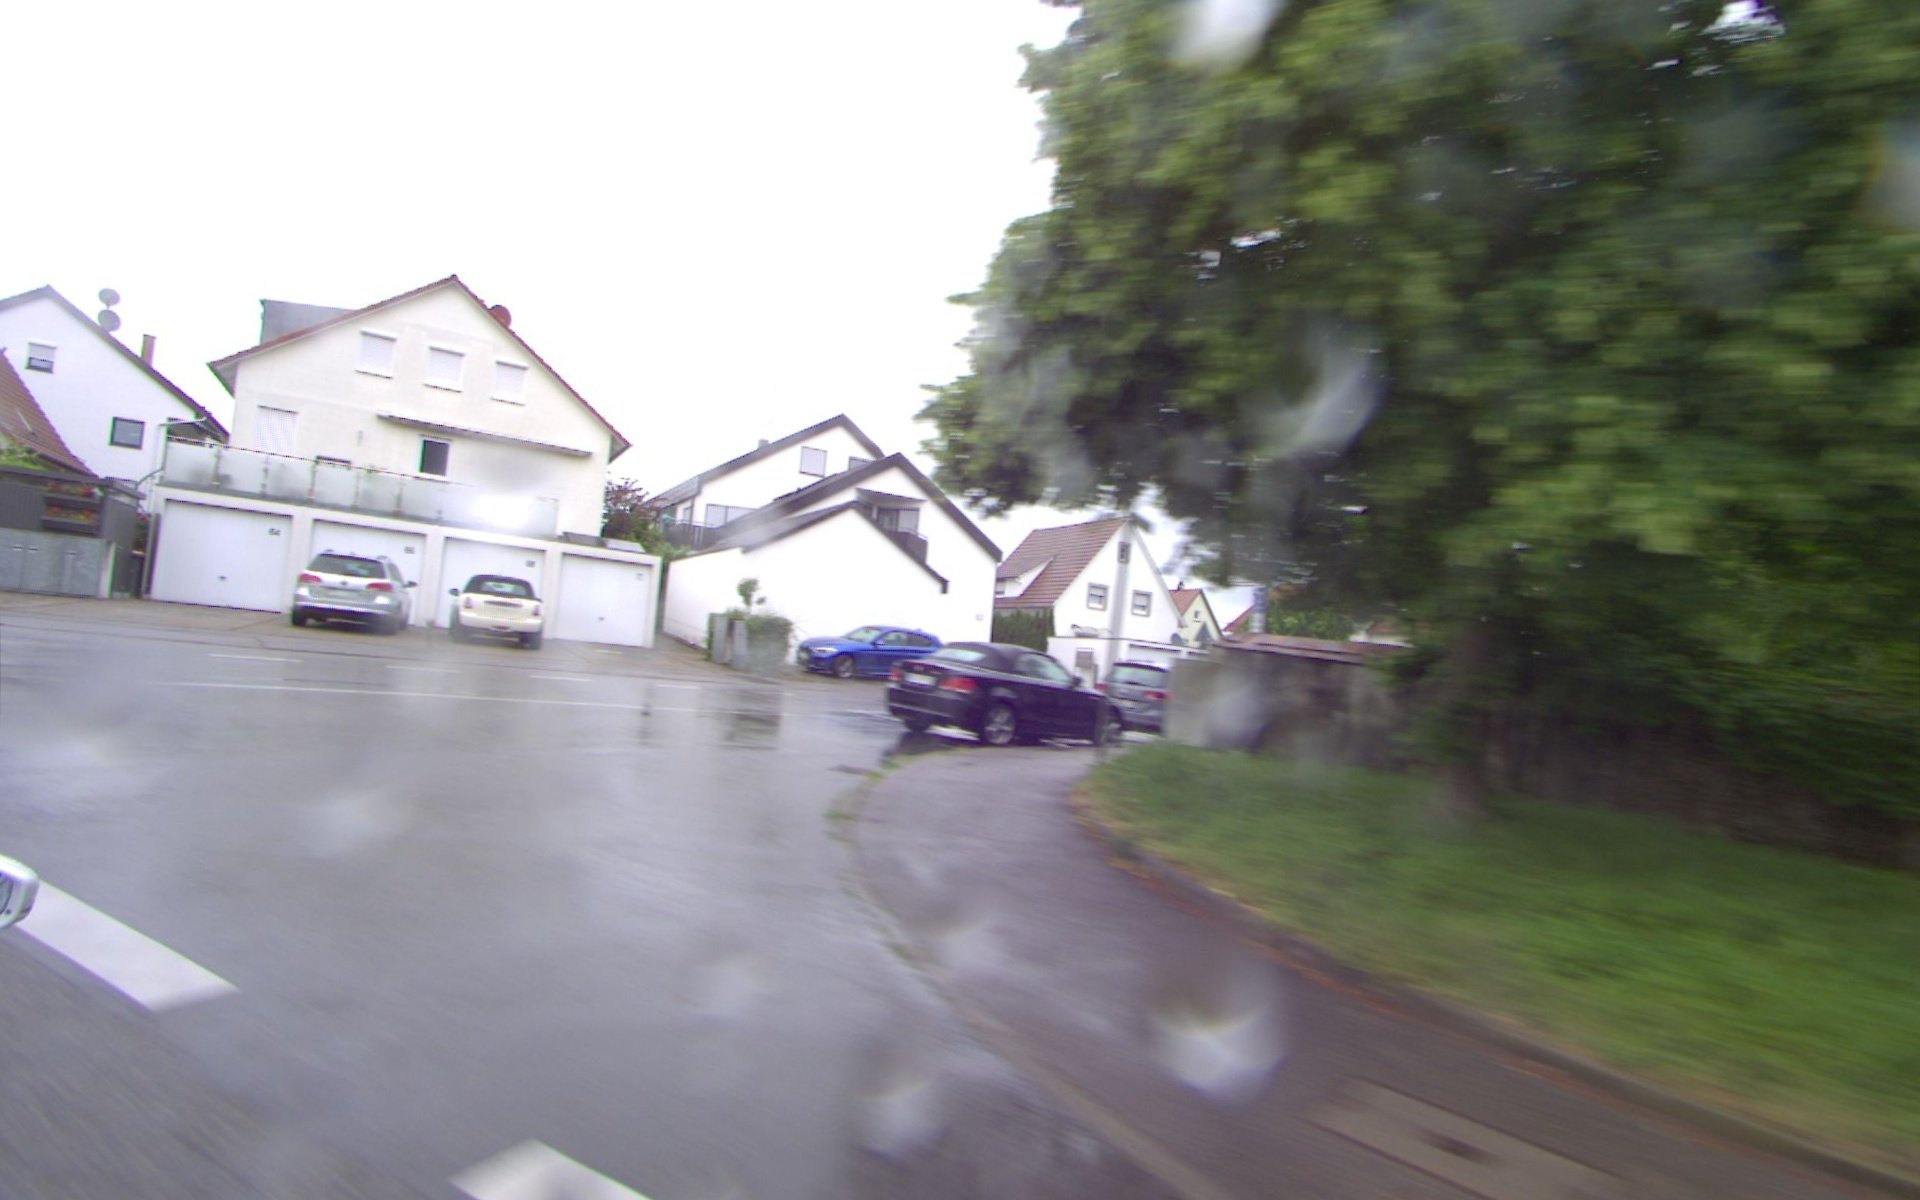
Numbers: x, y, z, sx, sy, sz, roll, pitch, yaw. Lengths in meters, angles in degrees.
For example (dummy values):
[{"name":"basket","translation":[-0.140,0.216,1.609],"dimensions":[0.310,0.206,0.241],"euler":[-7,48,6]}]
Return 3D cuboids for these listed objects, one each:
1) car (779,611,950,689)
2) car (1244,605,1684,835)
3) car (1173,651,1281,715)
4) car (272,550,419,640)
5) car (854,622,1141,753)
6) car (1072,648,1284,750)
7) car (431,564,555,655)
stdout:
[{"name":"car","translation":[-2.480,1.331,26.471],"dimensions":[3.966,1.481,1.851],"euler":[9,-2,-36]},{"name":"car","translation":[4.524,1.019,8.808],"dimensions":[3.967,1.473,1.835],"euler":[7,-1,-38]},{"name":"car","translation":[10.160,3.168,38.191],"dimensions":[3.973,2.038,1.976],"euler":[7,-1,-43]},{"name":"car","translation":[-12.167,-0.157,20.203],"dimensions":[1.975,1.415,4.125],"euler":[7,0,-26]},{"name":"car","translation":[0.678,1.346,14.868],"dimensions":[1.809,1.458,4.169],"euler":[6,-3,44]},{"name":"car","translation":[4.174,1.906,18.802],"dimensions":[1.809,1.458,4.376],"euler":[6,-3,43]},{"name":"car","translation":[-10.133,0.143,21.665],"dimensions":[1.978,1.549,3.969],"euler":[7,0,-30]}]
